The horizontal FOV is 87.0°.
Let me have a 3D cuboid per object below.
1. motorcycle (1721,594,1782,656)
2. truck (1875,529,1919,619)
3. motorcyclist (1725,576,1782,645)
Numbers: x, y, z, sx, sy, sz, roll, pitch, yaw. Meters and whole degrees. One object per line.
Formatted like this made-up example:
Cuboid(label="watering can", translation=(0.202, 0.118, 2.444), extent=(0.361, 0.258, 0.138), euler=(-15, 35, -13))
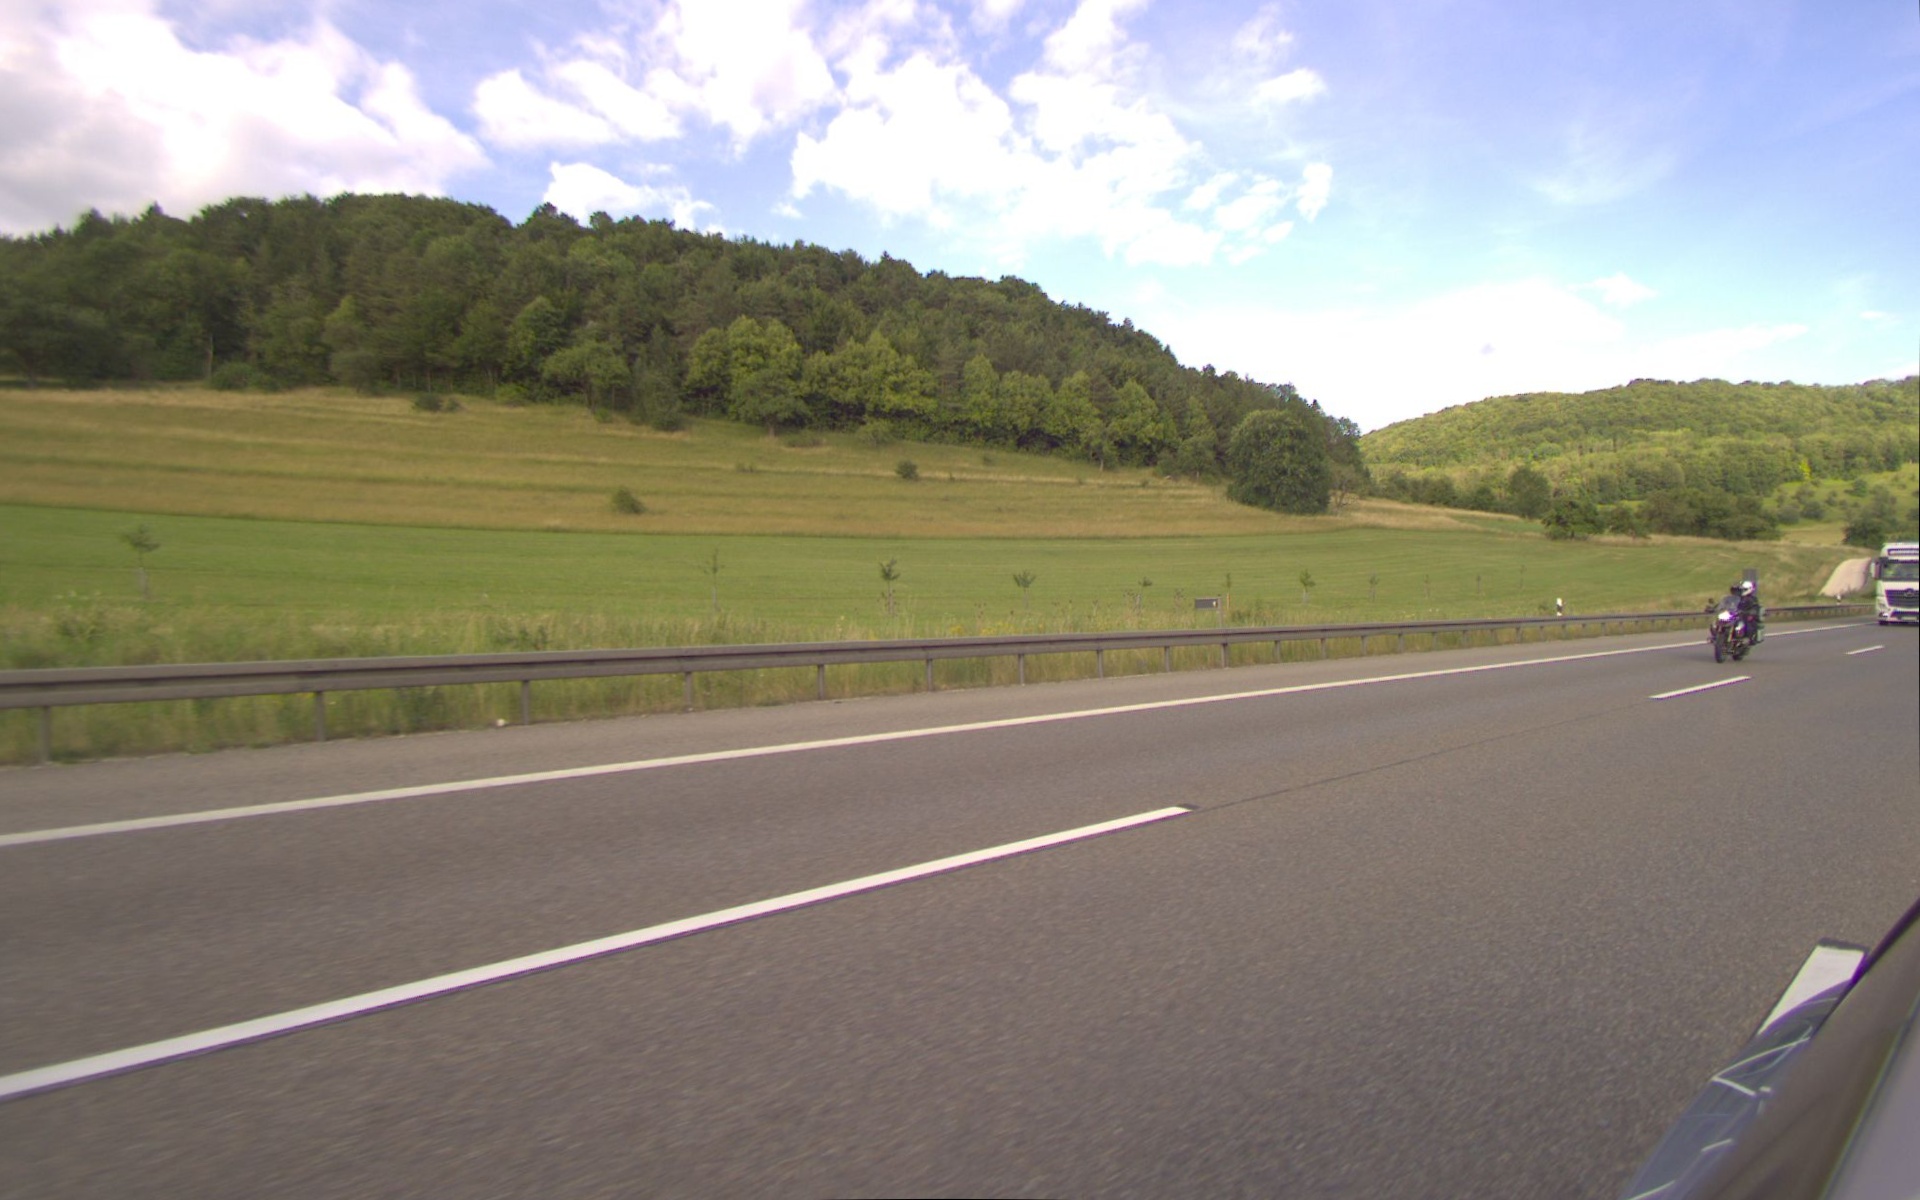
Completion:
Cuboid(label="motorcycle", translation=(18.126, 0.552, 23.166), extent=(1.706, 1.356, 0.629), euler=(-1, 1, -35))
Cuboid(label="truck", translation=(49.813, -1.258, 50.951), extent=(17.413, 4.042, 2.971), euler=(-1, 1, -39))
Cuboid(label="motorcyclist", translation=(18.225, 0.232, 23.242), extent=(0.783, 1.534, 0.878), euler=(-1, 0, -39))
